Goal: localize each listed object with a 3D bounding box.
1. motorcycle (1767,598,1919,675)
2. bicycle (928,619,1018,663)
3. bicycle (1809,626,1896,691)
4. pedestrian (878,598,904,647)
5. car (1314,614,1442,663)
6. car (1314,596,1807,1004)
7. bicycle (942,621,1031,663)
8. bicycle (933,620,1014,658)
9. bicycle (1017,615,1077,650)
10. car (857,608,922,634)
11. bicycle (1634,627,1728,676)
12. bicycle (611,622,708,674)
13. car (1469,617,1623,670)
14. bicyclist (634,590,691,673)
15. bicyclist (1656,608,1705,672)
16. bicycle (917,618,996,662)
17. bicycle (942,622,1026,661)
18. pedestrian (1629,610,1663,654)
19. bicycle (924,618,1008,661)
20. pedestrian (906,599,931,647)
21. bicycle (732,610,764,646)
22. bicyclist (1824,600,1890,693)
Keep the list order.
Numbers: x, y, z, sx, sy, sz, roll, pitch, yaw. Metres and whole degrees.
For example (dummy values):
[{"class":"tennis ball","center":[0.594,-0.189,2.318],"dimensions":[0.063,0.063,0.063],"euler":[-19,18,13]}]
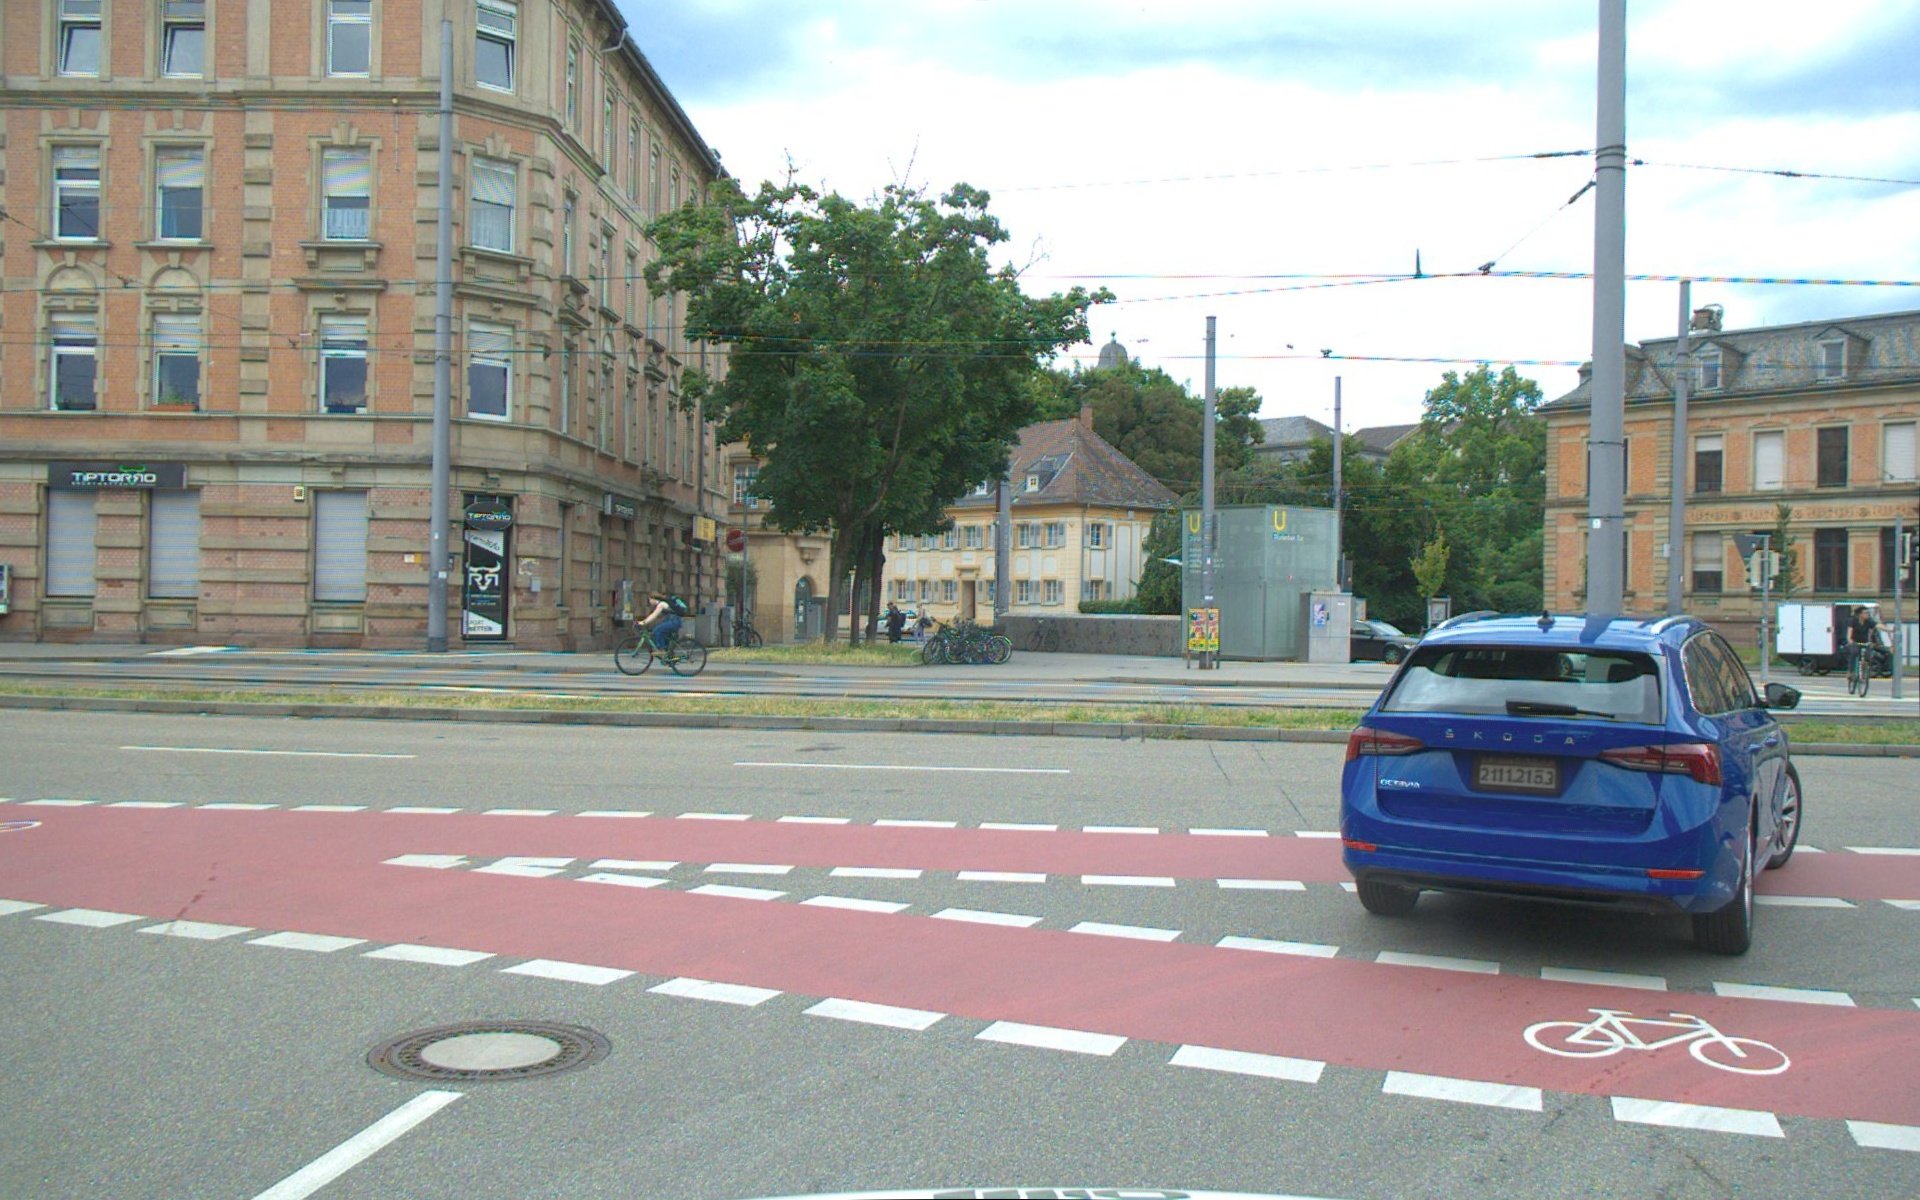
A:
[{"class":"motorcycle","center":[24.725,0.979,46.155],"dimensions":[1.679,2.049,3.637],"euler":[1,0,-38]},{"class":"bicycle","center":[0.312,1.014,40.970],"dimensions":[2.166,1.024,0.480],"euler":[1,0,13]},{"class":"bicycle","center":[18.029,1.178,33.453],"dimensions":[0.796,1.264,2.001],"euler":[0,-2,5]},{"class":"pedestrian","center":[-2.522,0.811,60.509],"dimensions":[0.826,1.753,0.953],"euler":[1,0,6]},{"class":"car","center":[13.707,1.244,54.427],"dimensions":[1.675,1.474,4.098],"euler":[1,0,-32]},{"class":"car","center":[3.365,0.788,8.639],"dimensions":[1.746,1.514,4.458],"euler":[1,0,29]},{"class":"bicycle","center":[0.673,1.054,41.688],"dimensions":[2.166,1.004,0.500],"euler":[1,0,13]},{"class":"bicycle","center":[0.382,1.072,45.817],"dimensions":[2.166,1.004,0.586],"euler":[1,0,13]},{"class":"bicycle","center":[2.890,1.080,55.303],"dimensions":[0.731,1.134,2.334],"euler":[1,0,-34]},{"class":"car","center":[-4.231,1.263,98.674],"dimensions":[1.681,1.474,4.127],"euler":[1,0,-40]},{"class":"bicycle","center":[19.063,1.359,43.783],"dimensions":[0.848,1.229,2.169],"euler":[2,-1,-36]},{"class":"bicycle","center":[-5.577,0.889,30.765],"dimensions":[1.679,0.931,0.607],"euler":[1,0,-2]},{"class":"car","center":[17.430,1.265,49.343],"dimensions":[1.742,1.479,4.107],"euler":[1,0,-36]},{"class":"bicyclist","center":[-5.532,0.579,30.765],"dimensions":[0.920,1.520,0.663],"euler":[1,0,-1]},{"class":"bicyclist","center":[19.075,1.058,43.786],"dimensions":[0.846,1.651,0.905],"euler":[2,-1,-37]},{"class":"bicycle","center":[-0.073,0.952,39.698],"dimensions":[1.823,1.004,0.500],"euler":[1,0,11]},{"class":"bicycle","center":[0.643,1.122,44.614],"dimensions":[2.166,1.004,0.586],"euler":[1,0,13]},{"class":"pedestrian","center":[28.127,1.305,67.793],"dimensions":[1.107,1.794,0.754],"euler":[0,-1,41]},{"class":"bicycle","center":[0.153,0.971,40.426],"dimensions":[1.988,1.004,0.522],"euler":[1,0,13]},{"class":"pedestrian","center":[-1.563,0.861,62.472],"dimensions":[0.826,1.753,0.953],"euler":[1,0,6]},{"class":"bicycle","center":[-5.746,0.761,44.909],"dimensions":[0.647,0.930,1.989],"euler":[1,0,-1]},{"class":"bicyclist","center":[18.014,0.919,33.236],"dimensions":[0.796,1.830,1.030],"euler":[-1,-1,5]}]
